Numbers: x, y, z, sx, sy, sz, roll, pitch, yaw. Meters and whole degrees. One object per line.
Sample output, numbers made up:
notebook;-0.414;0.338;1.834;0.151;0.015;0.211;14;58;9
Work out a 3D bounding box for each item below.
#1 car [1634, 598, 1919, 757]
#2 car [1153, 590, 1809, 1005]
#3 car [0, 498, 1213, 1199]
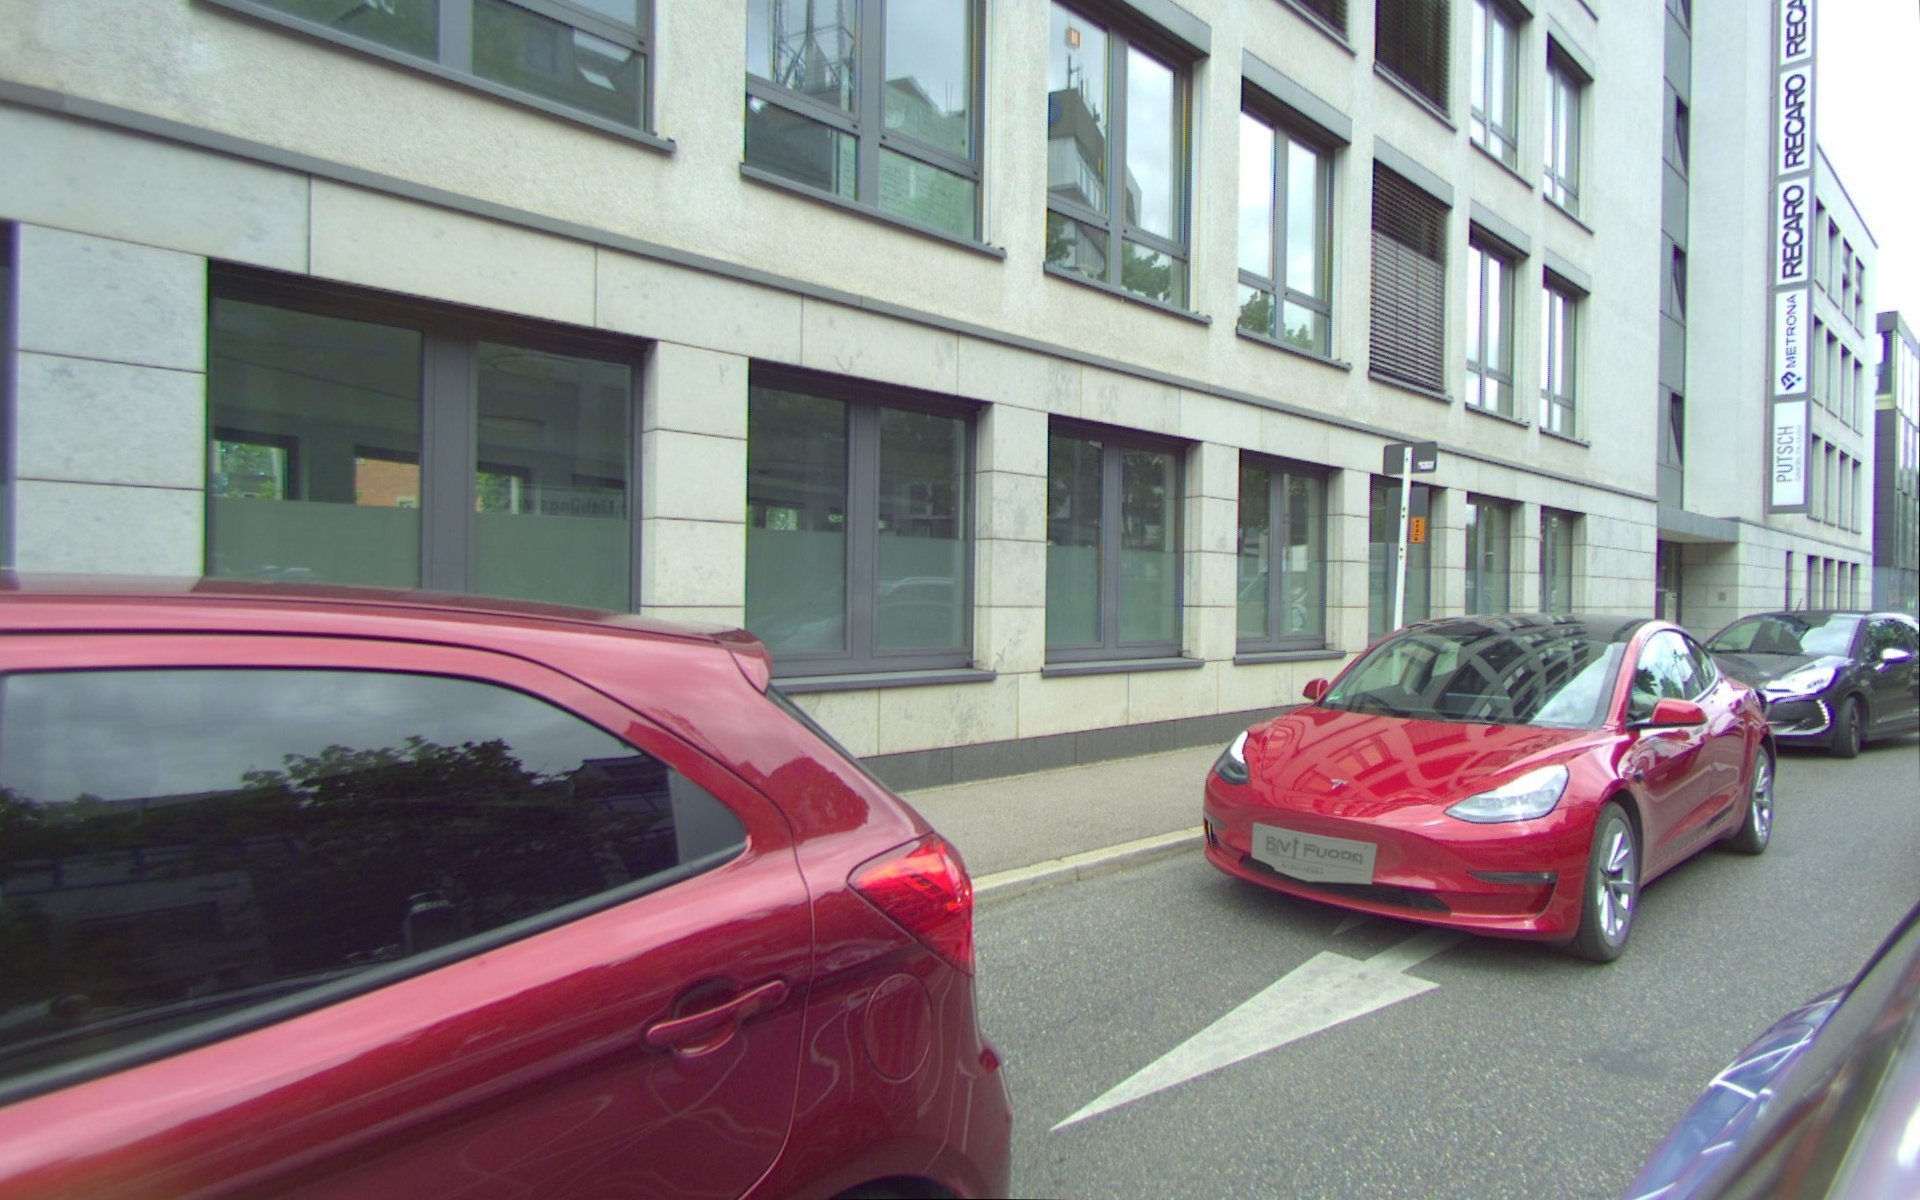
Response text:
car;9.360;0.727;11.041;3.657;1.476;1.748;0;-1;-27
car;3.182;0.716;5.729;4.331;1.476;1.823;0;-1;-41
car;-1.608;0.688;1.386;3.930;1.511;1.888;0;-2;-41
